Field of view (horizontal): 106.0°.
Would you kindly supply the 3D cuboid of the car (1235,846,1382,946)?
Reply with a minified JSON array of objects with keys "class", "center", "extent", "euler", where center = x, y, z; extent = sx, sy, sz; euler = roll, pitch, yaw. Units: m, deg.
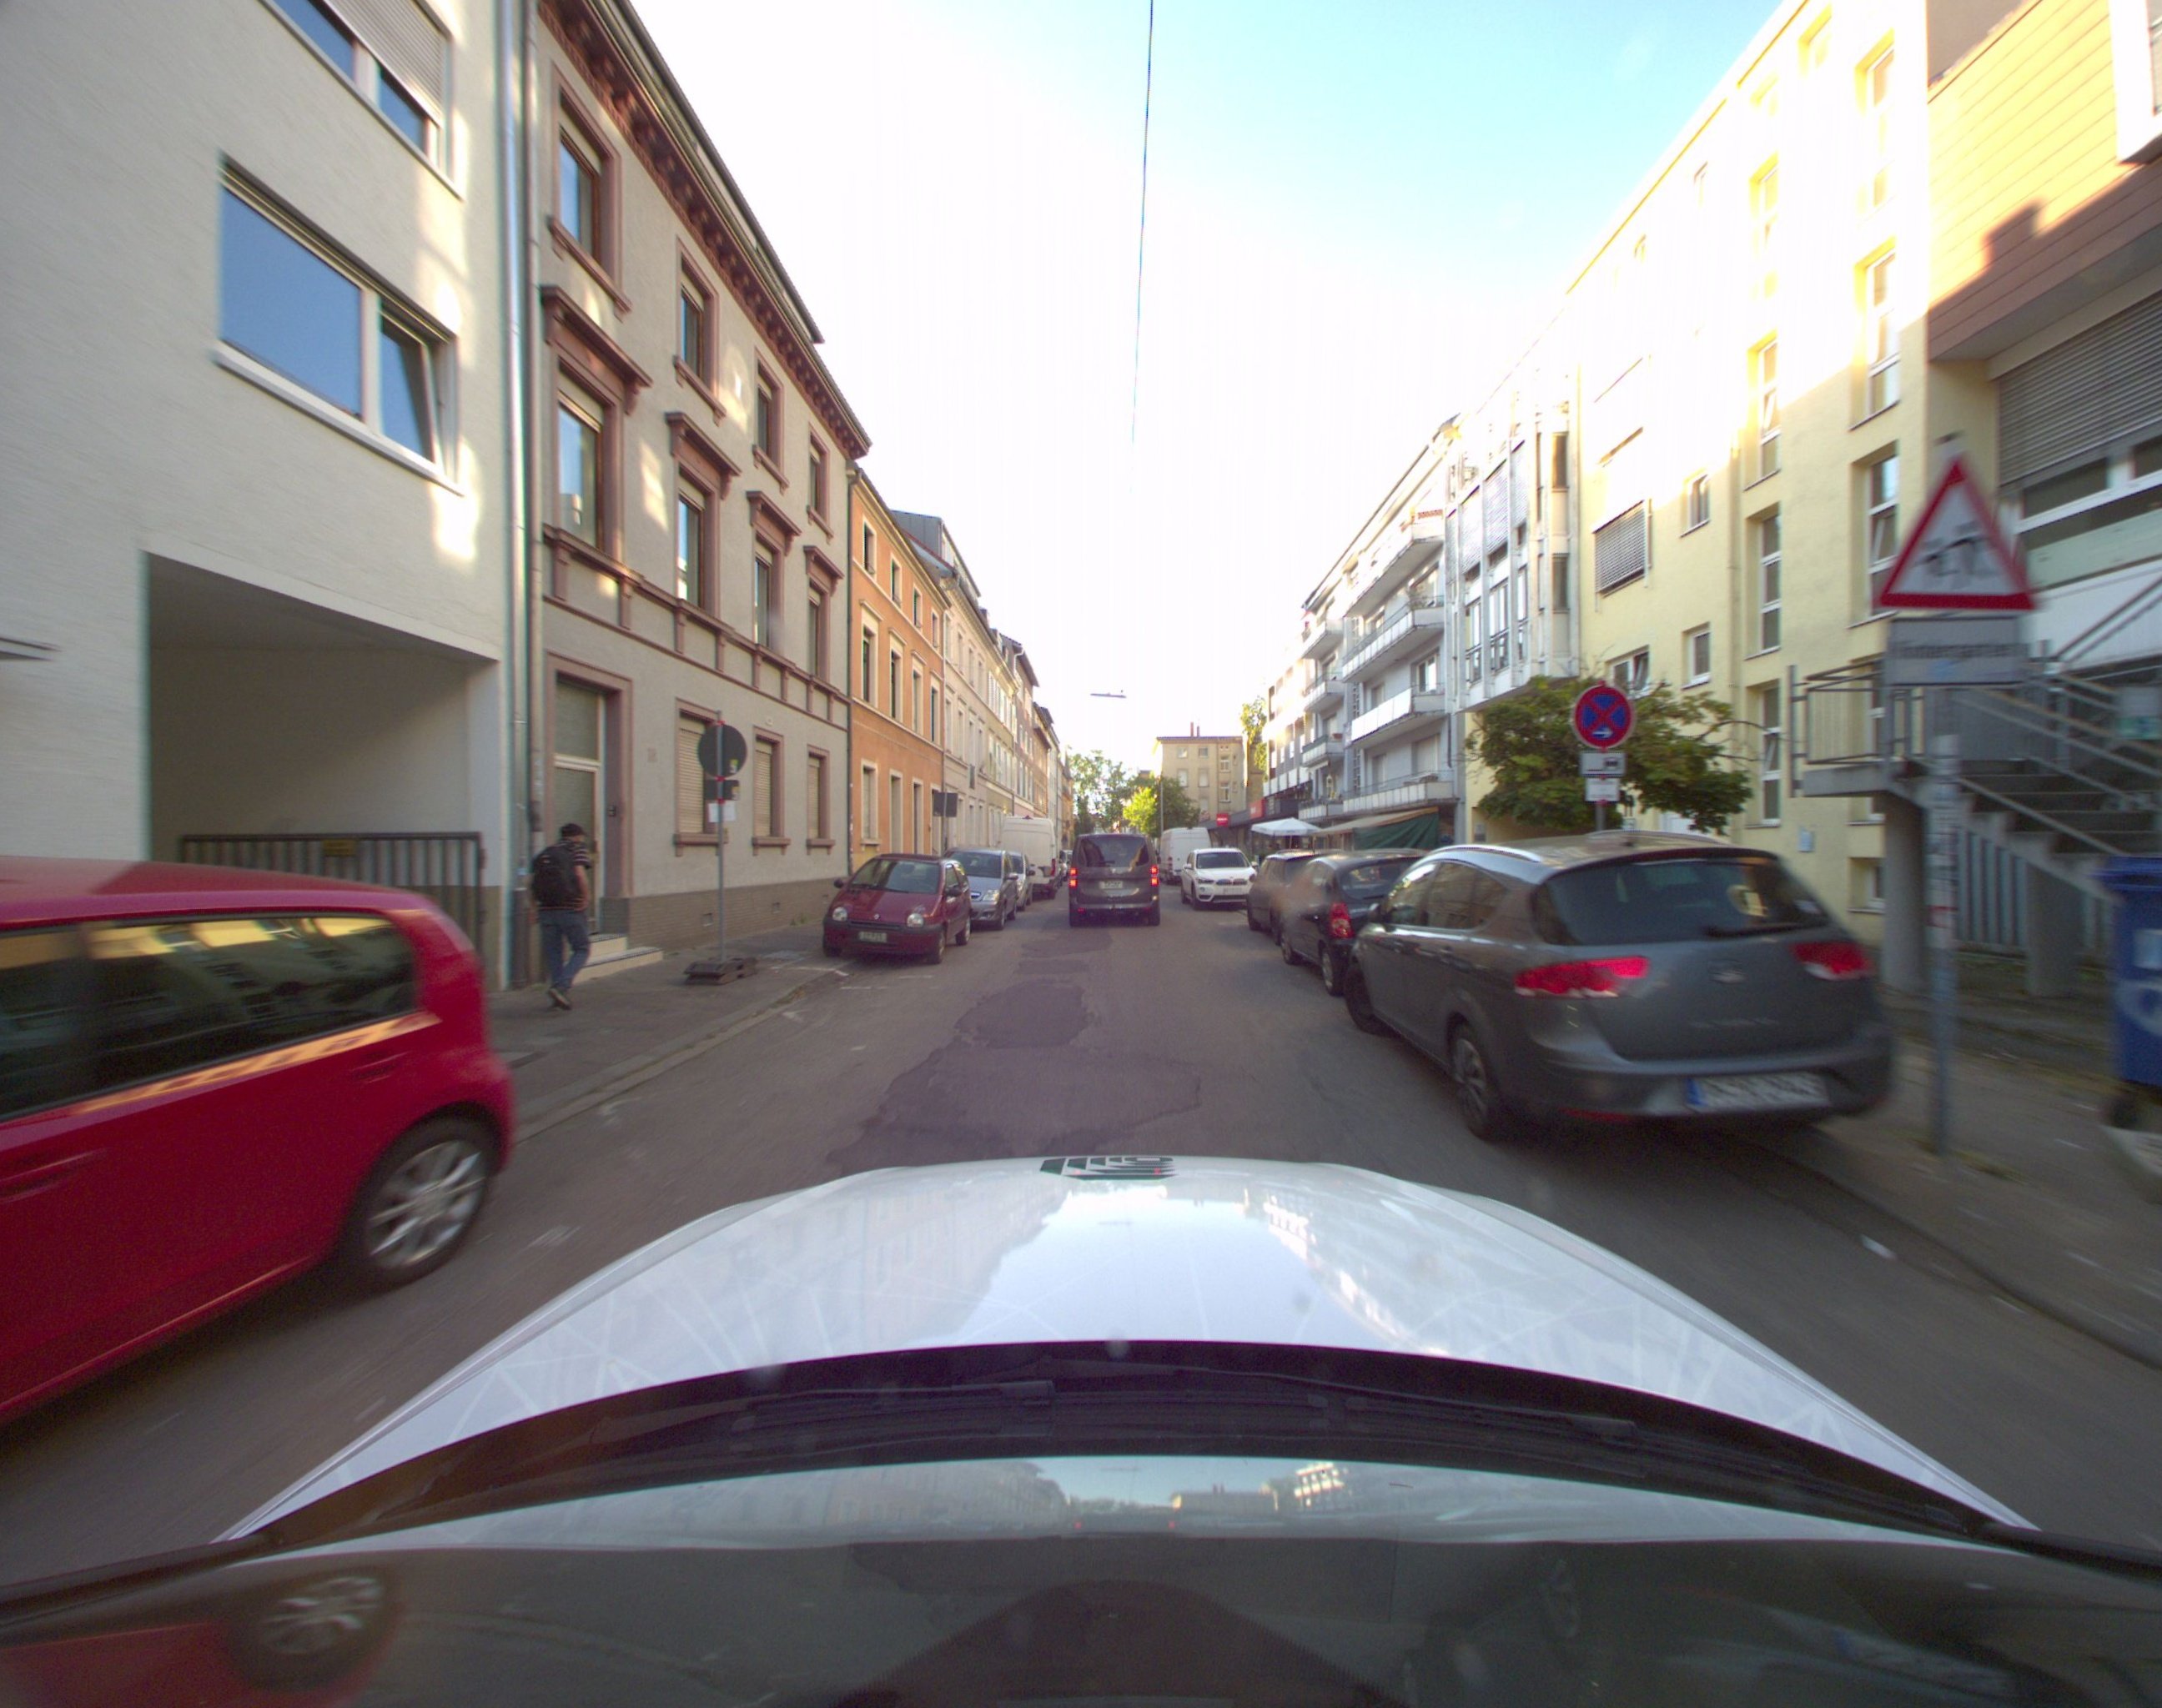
[{"class":"car","center":[3.926,0.632,14.735],"extent":[1.614,1.486,4.127],"euler":[-3,0,2]}]

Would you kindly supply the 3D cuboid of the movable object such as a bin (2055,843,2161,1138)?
[{"class":"movable object such as a bin","center":[5.648,0.644,3.990],"extent":[1.256,1.376,0.796],"euler":[1,0,-23]}]

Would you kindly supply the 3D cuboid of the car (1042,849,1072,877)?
[{"class":"car","center":[-1.333,0.470,46.197],"extent":[1.379,1.532,2.753],"euler":[0,1,5]}]

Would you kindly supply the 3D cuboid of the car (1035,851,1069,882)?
[{"class":"car","center":[-1.499,0.609,42.649],"extent":[1.706,1.497,3.852],"euler":[0,1,-2]}]

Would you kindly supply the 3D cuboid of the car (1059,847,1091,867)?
[{"class":"car","center":[-0.463,0.218,65.888],"extent":[1.983,1.560,4.594],"euler":[0,1,7]}]

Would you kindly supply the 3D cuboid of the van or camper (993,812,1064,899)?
[{"class":"van or camper","center":[-1.720,0.030,28.915],"extent":[1.943,2.649,7.141],"euler":[-2,0,0]}]

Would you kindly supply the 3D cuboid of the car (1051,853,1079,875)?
[{"class":"car","center":[-1.047,0.648,55.083],"extent":[1.783,1.397,4.466],"euler":[1,1,-1]}]

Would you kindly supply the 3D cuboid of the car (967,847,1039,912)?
[{"class":"car","center":[-2.144,0.644,23.130],"extent":[1.584,1.686,3.654],"euler":[0,1,1]}]

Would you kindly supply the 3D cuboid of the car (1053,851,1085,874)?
[{"class":"car","center":[-0.837,0.565,59.987],"extent":[1.985,1.605,4.590],"euler":[0,1,4]}]

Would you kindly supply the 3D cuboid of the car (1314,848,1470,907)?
[{"class":"car","center":[8.900,0.651,23.545],"extent":[3.882,1.607,1.695],"euler":[1,0,1]}]

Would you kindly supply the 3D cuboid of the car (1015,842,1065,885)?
[{"class":"car","center":[-1.710,0.365,35.076],"extent":[1.857,1.750,4.294],"euler":[0,1,1]}]

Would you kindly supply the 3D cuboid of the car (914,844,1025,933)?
[{"class":"car","center":[-2.258,0.635,17.461],"extent":[1.705,1.644,3.980],"euler":[2,1,1]}]

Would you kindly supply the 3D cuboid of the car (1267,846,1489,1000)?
[{"class":"car","center":[3.425,0.679,10.097],"extent":[1.615,1.557,3.698],"euler":[0,1,3]}]

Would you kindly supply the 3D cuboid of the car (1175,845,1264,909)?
[{"class":"car","center":[3.767,0.575,22.916],"extent":[1.717,1.612,4.587],"euler":[0,0,0]}]

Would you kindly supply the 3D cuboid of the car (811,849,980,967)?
[{"class":"car","center":[-2.620,0.692,12.232],"extent":[1.651,1.448,3.287],"euler":[3,0,1]}]

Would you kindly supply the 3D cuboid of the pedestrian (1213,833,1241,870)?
[{"class":"pedestrian","center":[6.482,-0.112,36.150],"extent":[0.874,1.555,0.870],"euler":[-3,1,-20]}]

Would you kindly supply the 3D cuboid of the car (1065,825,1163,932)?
[{"class":"car","center":[0.700,0.450,17.919],"extent":[1.851,2.013,4.002],"euler":[-2,1,1]}]

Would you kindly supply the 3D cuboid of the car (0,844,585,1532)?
[{"class":"car","center":[-3.298,0.777,1.906],"extent":[1.660,1.485,3.613],"euler":[5,1,7]}]

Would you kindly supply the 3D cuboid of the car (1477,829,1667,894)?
[{"class":"car","center":[13.457,0.183,22.504],"extent":[4.096,1.659,1.999],"euler":[-1,0,-2]}]

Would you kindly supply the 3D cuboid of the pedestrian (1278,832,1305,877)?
[{"class":"pedestrian","center":[10.238,0.034,39.682],"extent":[0.874,2.145,0.951],"euler":[-1,0,-15]}]

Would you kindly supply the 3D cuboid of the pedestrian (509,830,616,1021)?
[{"class":"pedestrian","center":[-4.651,0.613,7.335],"extent":[0.493,1.638,0.666],"euler":[1,0,2]}]

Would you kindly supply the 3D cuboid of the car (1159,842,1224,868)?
[{"class":"car","center":[8.099,0.063,60.168],"extent":[4.554,1.858,2.000],"euler":[0,0,0]}]

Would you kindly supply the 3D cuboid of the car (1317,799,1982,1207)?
[{"class":"car","center":[3.020,0.590,5.678],"extent":[1.741,1.683,4.531],"euler":[0,1,4]}]

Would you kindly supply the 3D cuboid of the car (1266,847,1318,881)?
[{"class":"car","center":[9.294,0.406,35.710],"extent":[1.585,1.416,3.248],"euler":[-1,0,25]}]

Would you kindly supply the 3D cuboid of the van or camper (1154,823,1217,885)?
[{"class":"van or camper","center":[4.838,-0.029,38.949],"extent":[2.092,2.602,7.513],"euler":[-1,0,1]}]

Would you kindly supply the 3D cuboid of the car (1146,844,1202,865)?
[{"class":"car","center":[8.100,0.041,71.182],"extent":[4.562,1.792,1.997],"euler":[0,0,-5]}]
